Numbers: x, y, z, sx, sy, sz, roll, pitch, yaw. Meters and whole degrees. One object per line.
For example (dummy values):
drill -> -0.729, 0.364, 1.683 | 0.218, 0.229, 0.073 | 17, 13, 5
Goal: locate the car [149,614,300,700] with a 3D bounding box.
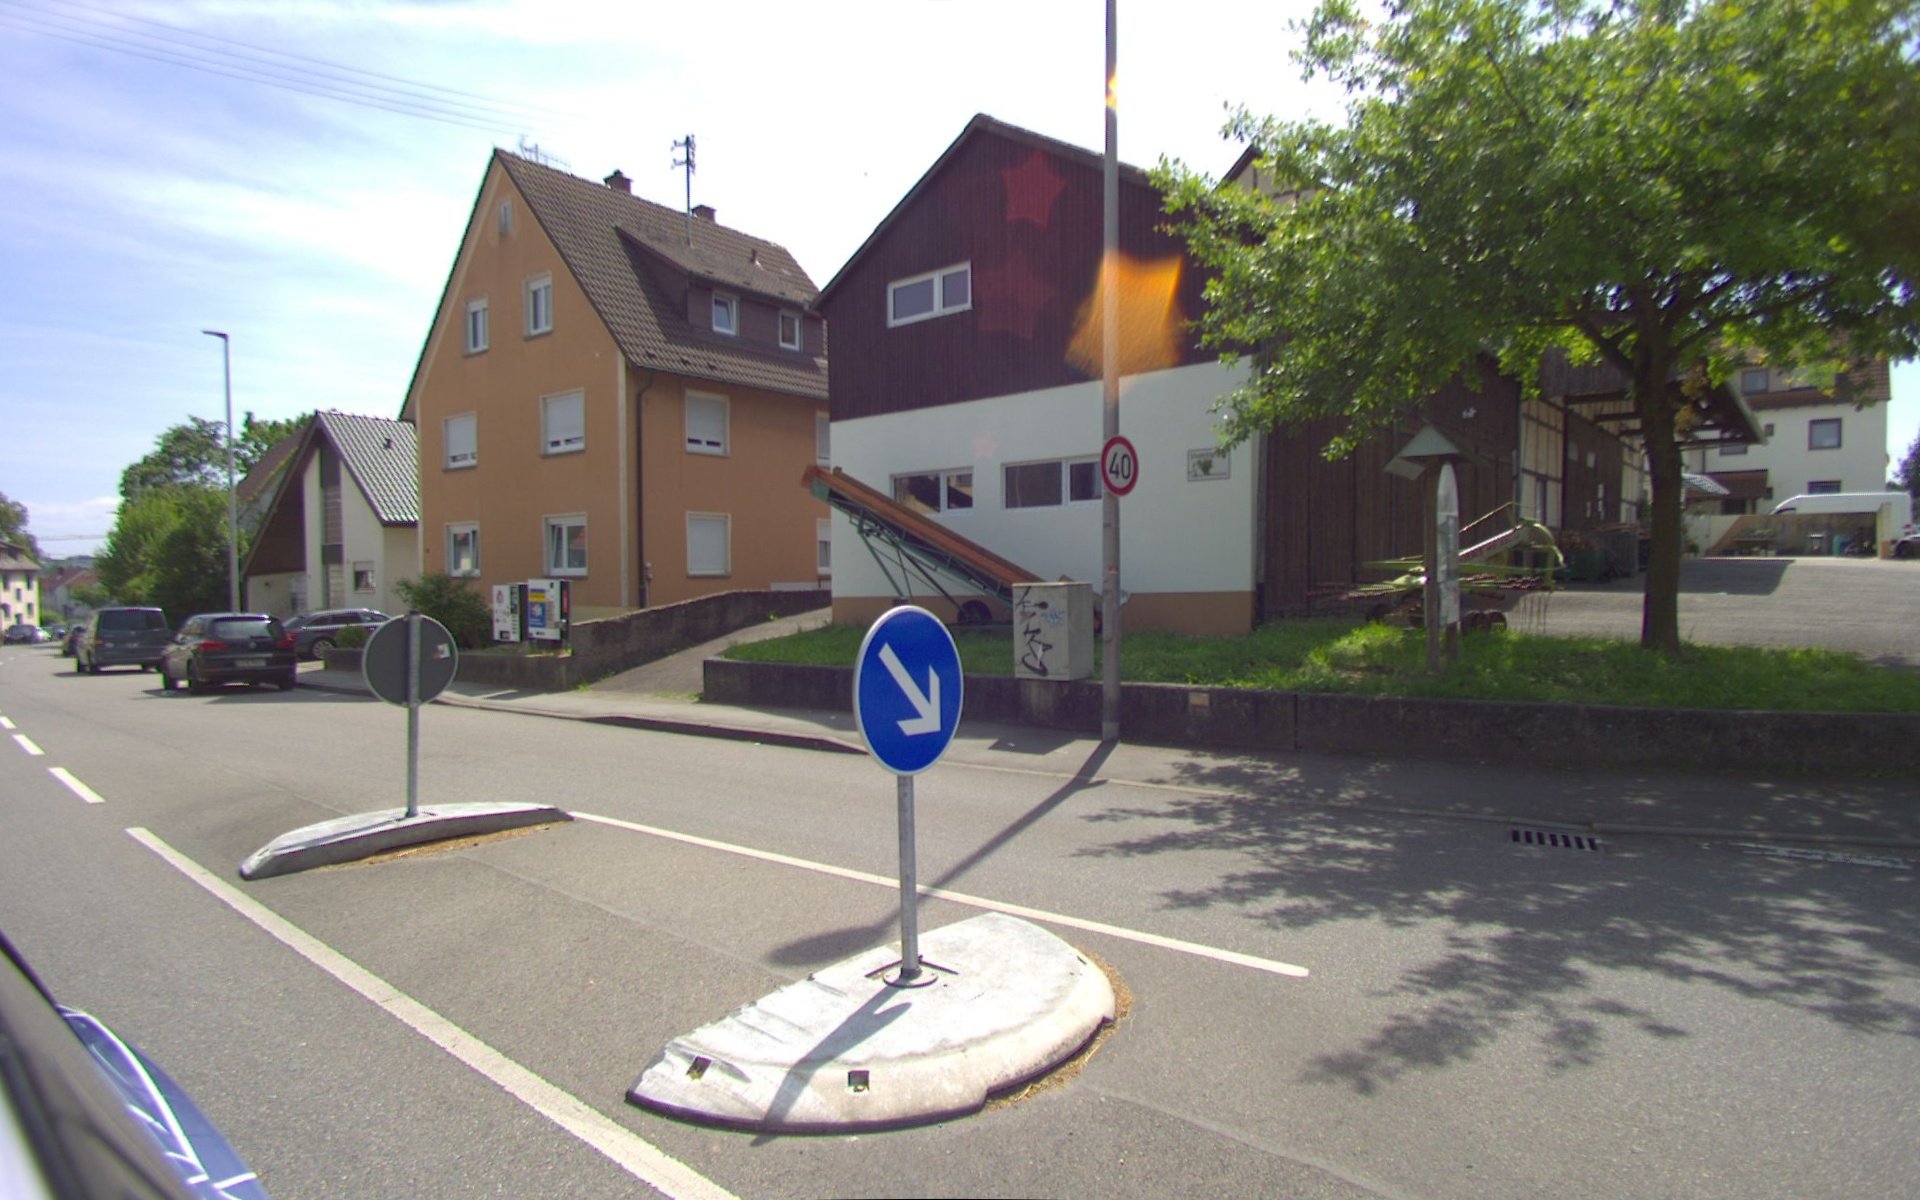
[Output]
car -> -15.794, 1.162, 21.656 | 4.286, 1.648, 1.750 | -2, -2, 42

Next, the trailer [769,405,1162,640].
trailer -> -0.186, -0.898, 15.039 | 6.170, 2.870, 1.694 | -2, 0, 41

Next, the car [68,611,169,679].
car -> -25.935, 1.332, 31.140 | 4.988, 1.952, 1.869 | -1, -2, 44

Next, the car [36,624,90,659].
car -> -41.285, 1.896, 46.538 | 1.797, 1.484, 4.781 | 0, -2, -42

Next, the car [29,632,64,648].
car -> -87.506, 3.815, 96.984 | 1.764, 1.431, 4.370 | -1, -1, -33

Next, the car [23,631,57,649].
car -> -83.253, 3.587, 91.638 | 1.765, 1.466, 4.728 | -1, -1, -36

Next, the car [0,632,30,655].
car -> -78.112, 3.561, 83.189 | 1.928, 1.729, 4.728 | -1, -1, -36

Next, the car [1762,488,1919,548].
car -> 35.141, -3.210, 40.530 | 4.656, 2.029, 1.973 | -1, 1, 41

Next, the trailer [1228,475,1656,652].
trailer -> 5.565, -0.457, 11.960 | 3.644, 1.704, 2.774 | -3, 2, -21

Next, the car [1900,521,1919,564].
car -> 32.856, -1.901, 32.273 | 1.974, 1.424, 4.234 | -2, 2, 4

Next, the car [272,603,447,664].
car -> -18.434, 1.002, 31.223 | 1.819, 1.415, 4.189 | -2, 3, 39
